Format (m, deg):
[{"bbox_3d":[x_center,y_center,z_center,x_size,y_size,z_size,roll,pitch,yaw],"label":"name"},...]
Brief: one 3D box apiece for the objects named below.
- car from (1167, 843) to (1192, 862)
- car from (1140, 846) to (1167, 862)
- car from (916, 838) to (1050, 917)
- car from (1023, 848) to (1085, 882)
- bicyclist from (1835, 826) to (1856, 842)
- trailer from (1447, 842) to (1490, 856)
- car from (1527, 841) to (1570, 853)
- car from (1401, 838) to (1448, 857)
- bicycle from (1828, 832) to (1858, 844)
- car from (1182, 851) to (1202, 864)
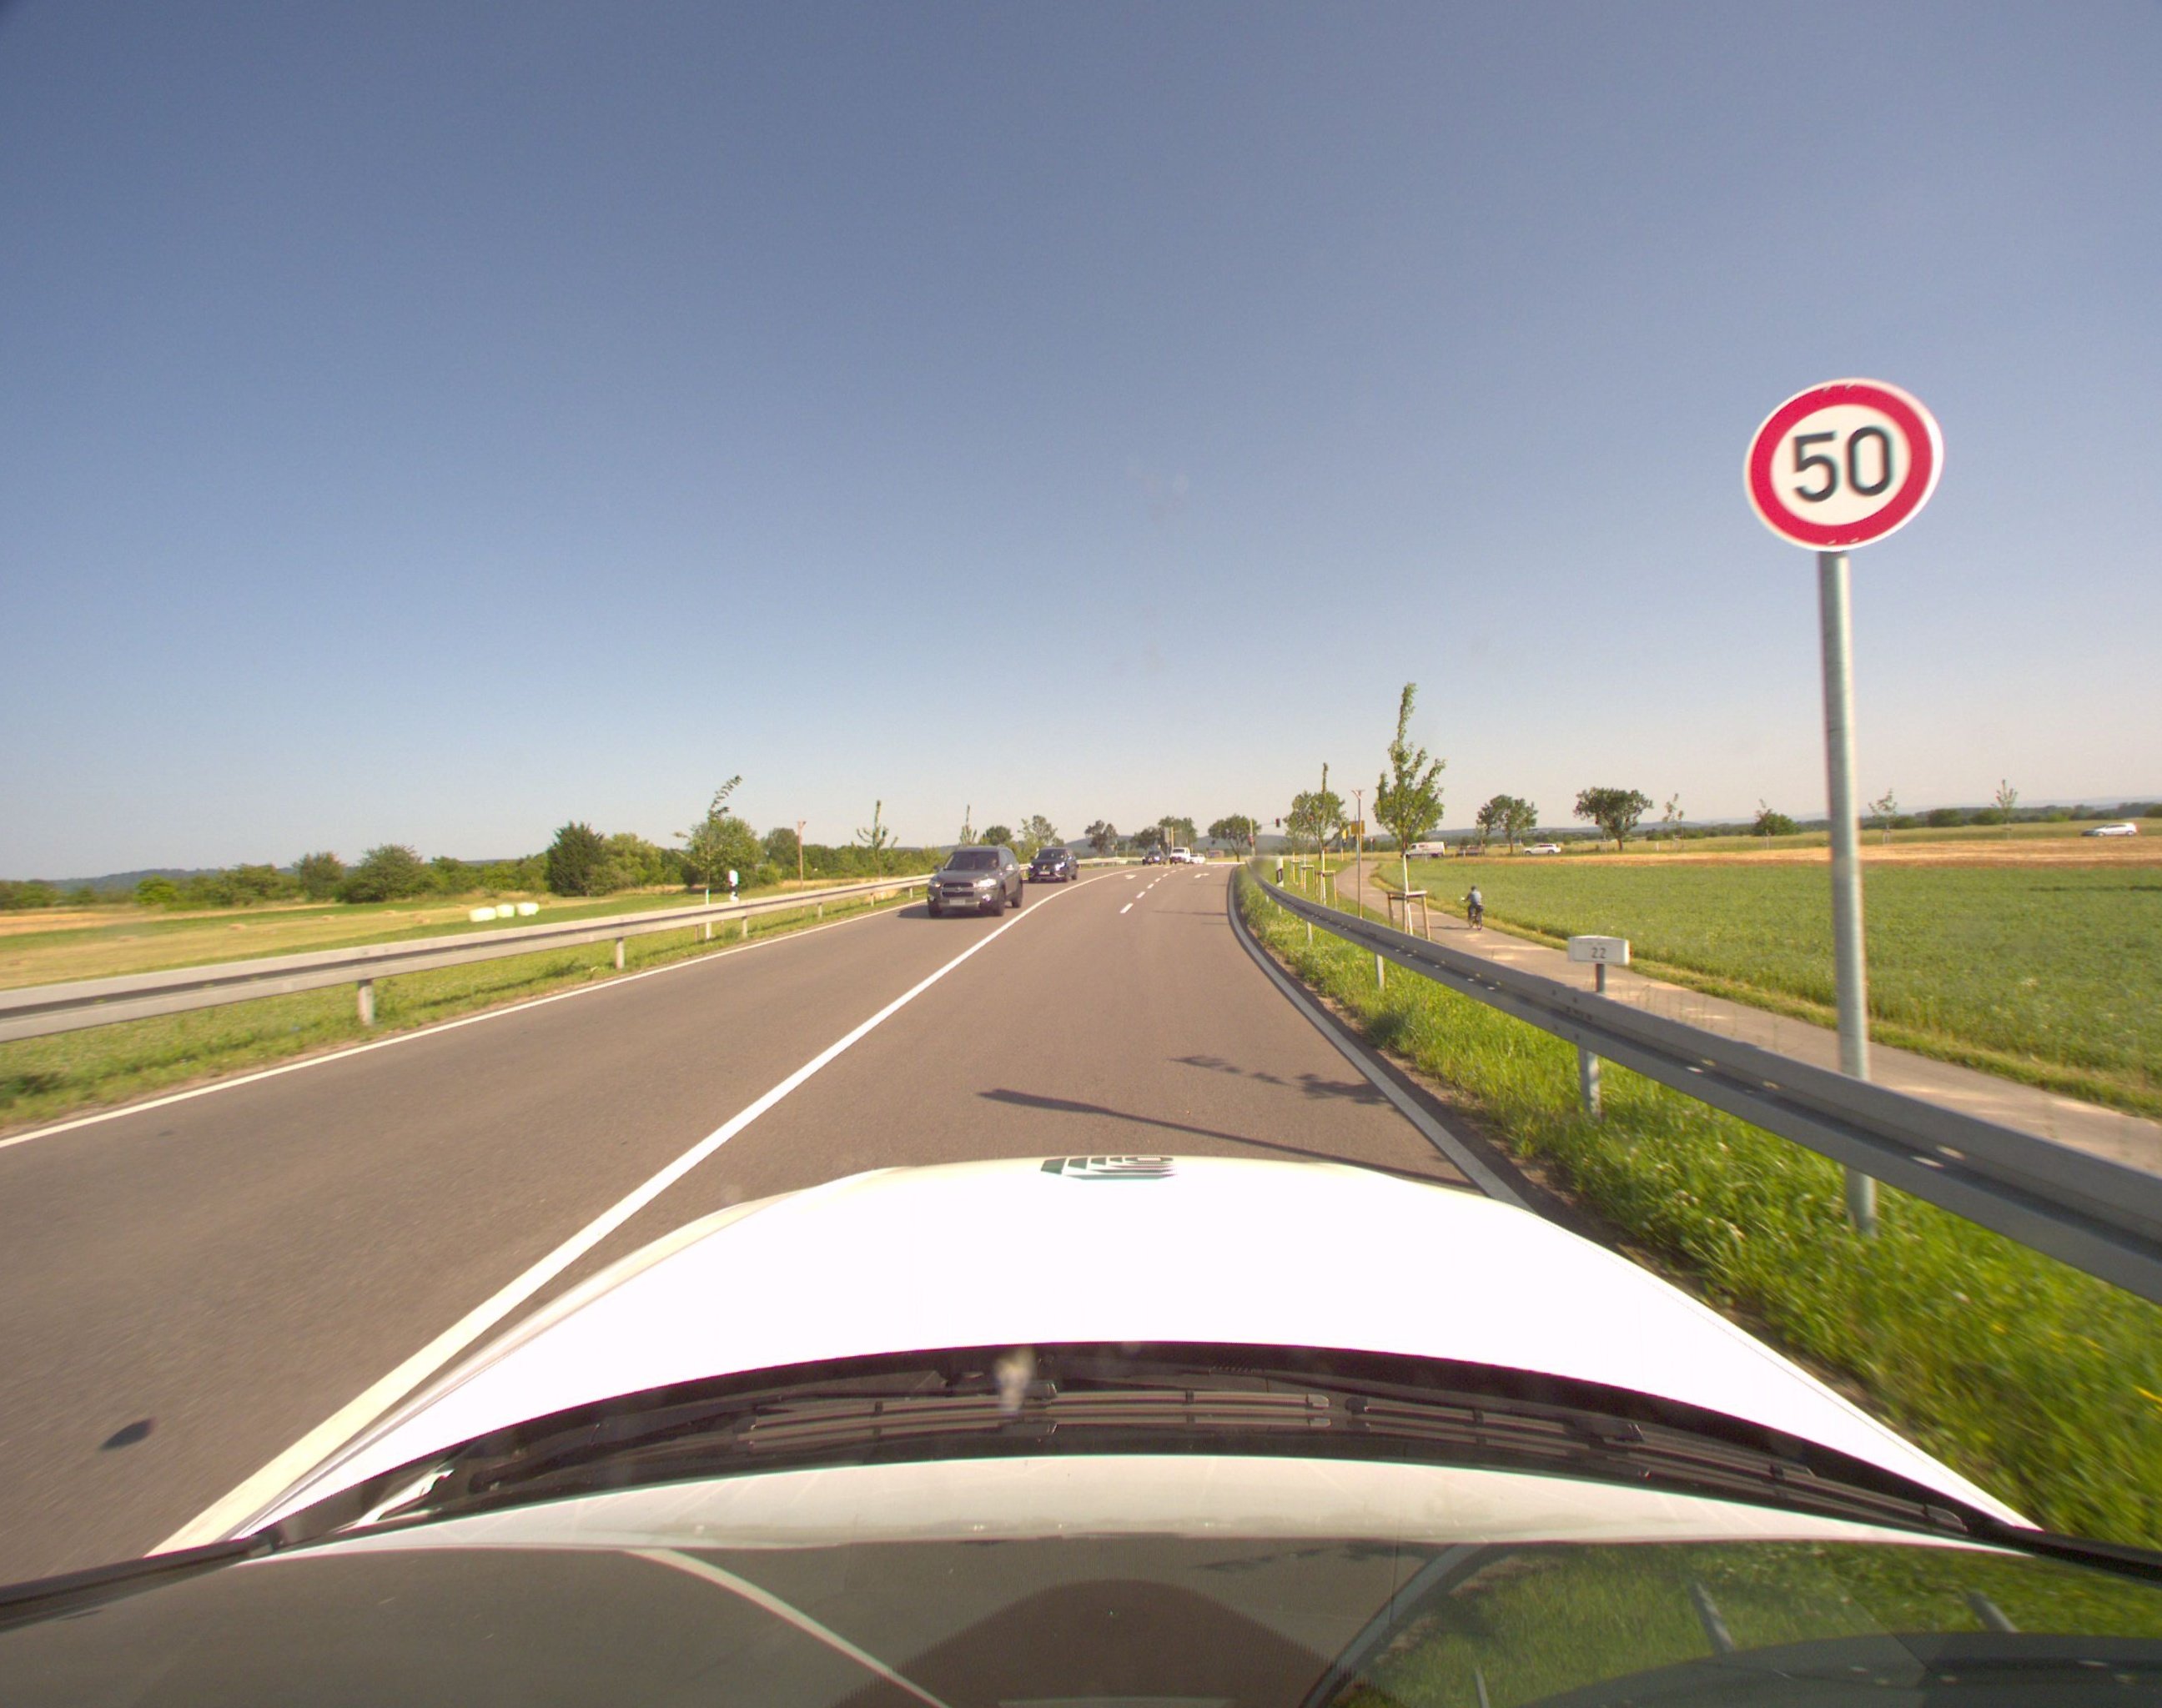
[{"bbox_3d":[11.684,-0.228,96.561,2.099,2.013,5.177,0,2,16],"label":"car"},{"bbox_3d":[7.312,-0.042,81.552,1.781,1.448,4.726,0,2,16],"label":"car"},{"bbox_3d":[-2.390,0.631,21.353,1.869,1.798,5.108,-1,-2,13],"label":"car"},{"bbox_3d":[-1.254,0.492,40.068,1.981,1.592,4.878,0,0,11],"label":"car"},{"bbox_3d":[83.139,-2.163,88.576,1.267,1.601,1.172,-2,0,25],"label":"bicyclist"},{"bbox_3d":[53.047,-0.685,111.453,5.211,1.753,1.965,-3,-2,27],"label":"trailer"},{"bbox_3d":[61.660,-0.944,107.512,4.824,1.510,2.011,-1,-1,24],"label":"car"},{"bbox_3d":[48.061,-0.847,114.027,5.901,2.493,2.012,-1,-1,27],"label":"car"},{"bbox_3d":[83.066,-1.782,88.783,2.136,1.186,0.895,-2,-2,24],"label":"bicycle"},{"bbox_3d":[14.779,0.462,108.524,2.100,1.492,5.173,0,2,14],"label":"car"}]
